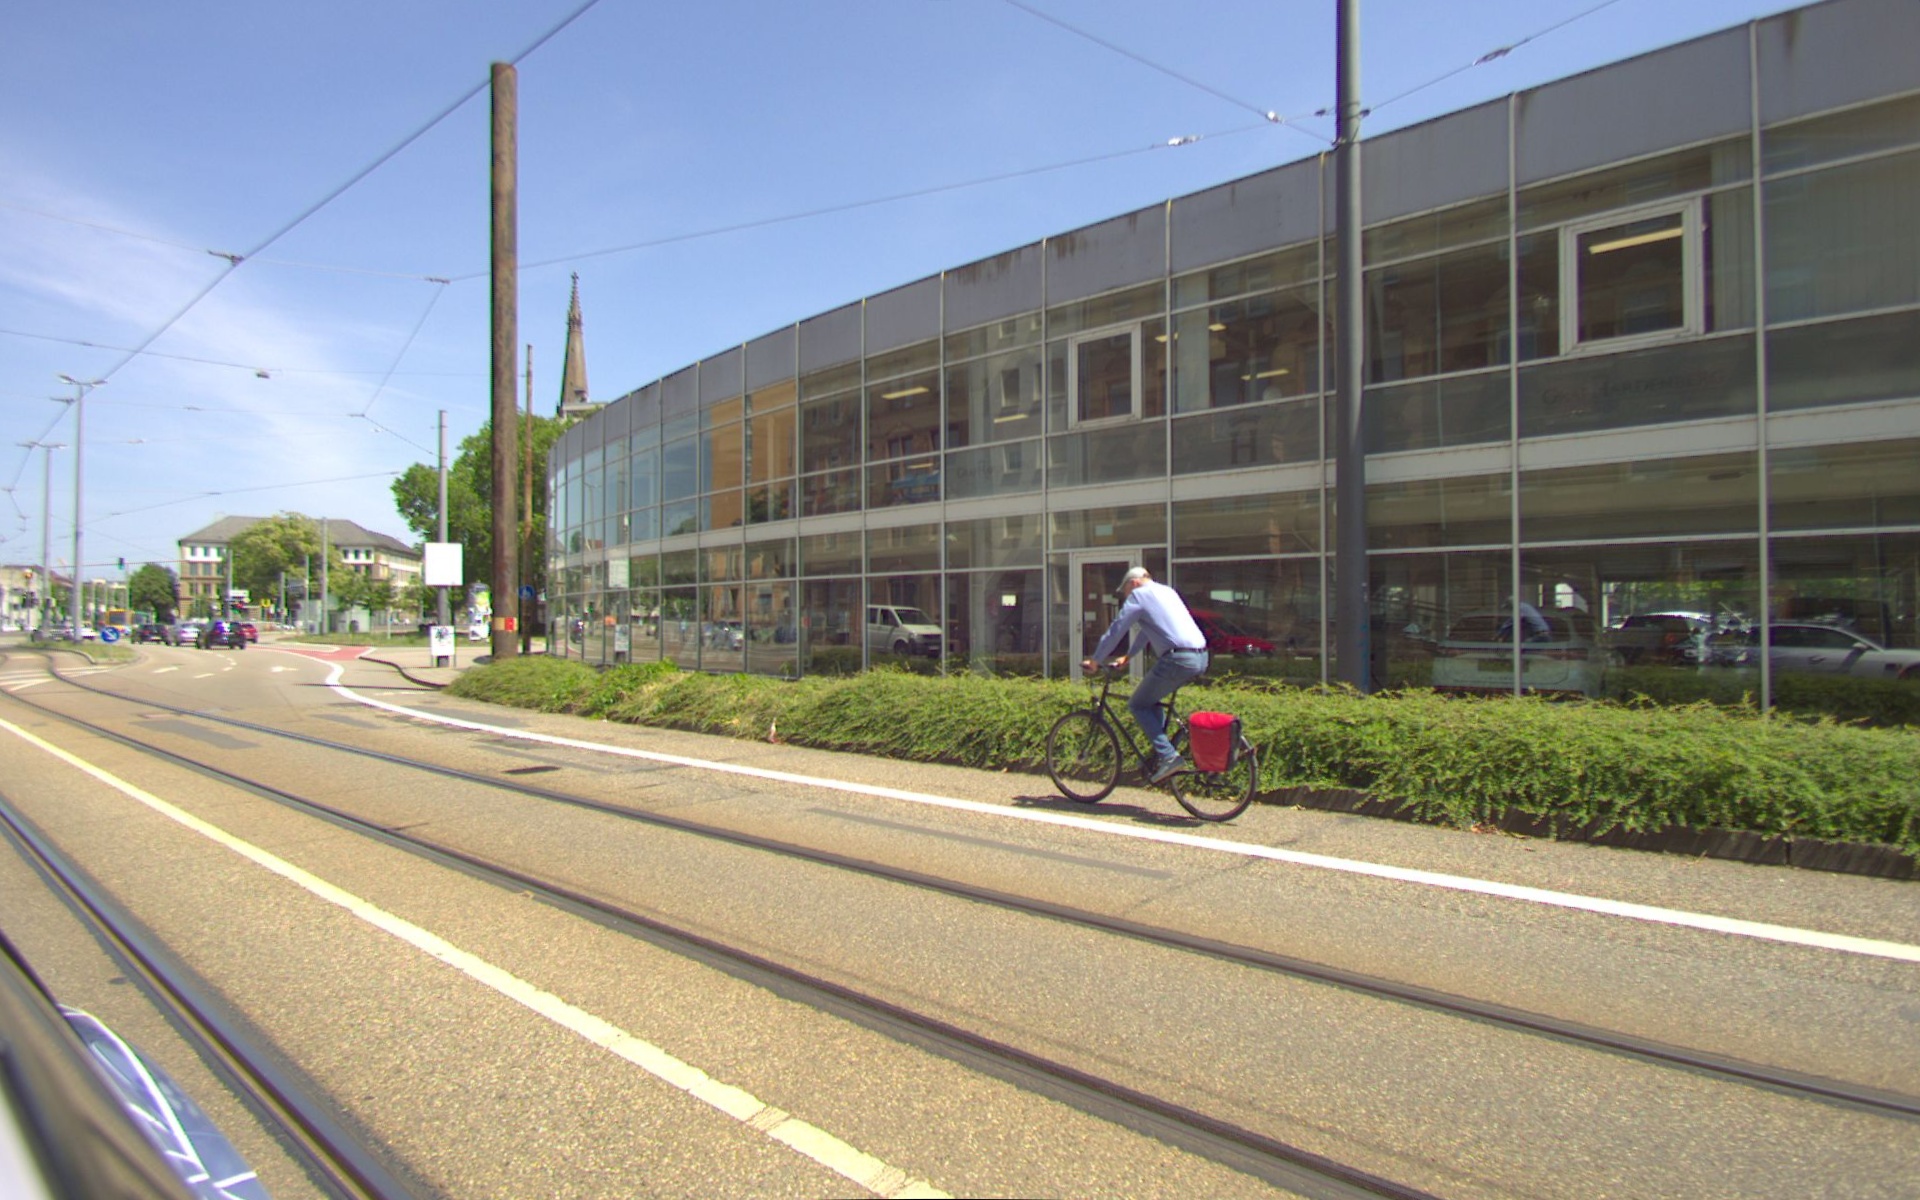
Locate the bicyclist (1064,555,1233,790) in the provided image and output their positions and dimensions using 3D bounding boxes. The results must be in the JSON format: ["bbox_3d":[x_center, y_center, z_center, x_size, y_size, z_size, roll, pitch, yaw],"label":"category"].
[{"bbox_3d":[1.355,0.495,7.310,0.979,1.560,0.691,-1,-2,40],"label":"bicyclist"}]

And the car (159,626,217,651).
[{"bbox_3d":[-49.329,2.436,64.648,5.129,1.542,1.972,-1,-3,42],"label":"car"}]

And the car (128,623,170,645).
[{"bbox_3d":[-57.367,2.392,71.561,3.902,1.473,1.653,-1,-2,41],"label":"car"}]

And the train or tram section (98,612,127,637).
[{"bbox_3d":[-113.361,3.227,135.432,2.799,3.238,9.126,0,-1,-39],"label":"train or tram section"}]

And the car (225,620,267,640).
[{"bbox_3d":[-53.859,2.253,76.289,4.288,1.377,1.739,-1,-1,43],"label":"car"}]

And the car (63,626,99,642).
[{"bbox_3d":[-74.470,2.853,85.714,4.201,1.309,1.689,-1,-3,41],"label":"car"}]

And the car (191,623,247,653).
[{"bbox_3d":[-41.970,2.124,57.293,4.527,1.639,1.801,-2,-3,45],"label":"car"}]

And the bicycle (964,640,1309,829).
[{"bbox_3d":[1.201,0.885,7.431,2.494,1.153,0.690,-1,-2,41],"label":"bicycle"}]

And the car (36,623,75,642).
[{"bbox_3d":[-70.849,2.548,79.263,4.329,1.491,1.823,-2,-3,43],"label":"car"}]

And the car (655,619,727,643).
[{"bbox_3d":[-16.710,1.917,62.940,4.152,1.431,1.603,-1,-1,18],"label":"car"}]

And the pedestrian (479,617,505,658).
[{"bbox_3d":[-19.267,1.523,41.656,0.820,1.654,0.719,-2,-2,45],"label":"pedestrian"}]
